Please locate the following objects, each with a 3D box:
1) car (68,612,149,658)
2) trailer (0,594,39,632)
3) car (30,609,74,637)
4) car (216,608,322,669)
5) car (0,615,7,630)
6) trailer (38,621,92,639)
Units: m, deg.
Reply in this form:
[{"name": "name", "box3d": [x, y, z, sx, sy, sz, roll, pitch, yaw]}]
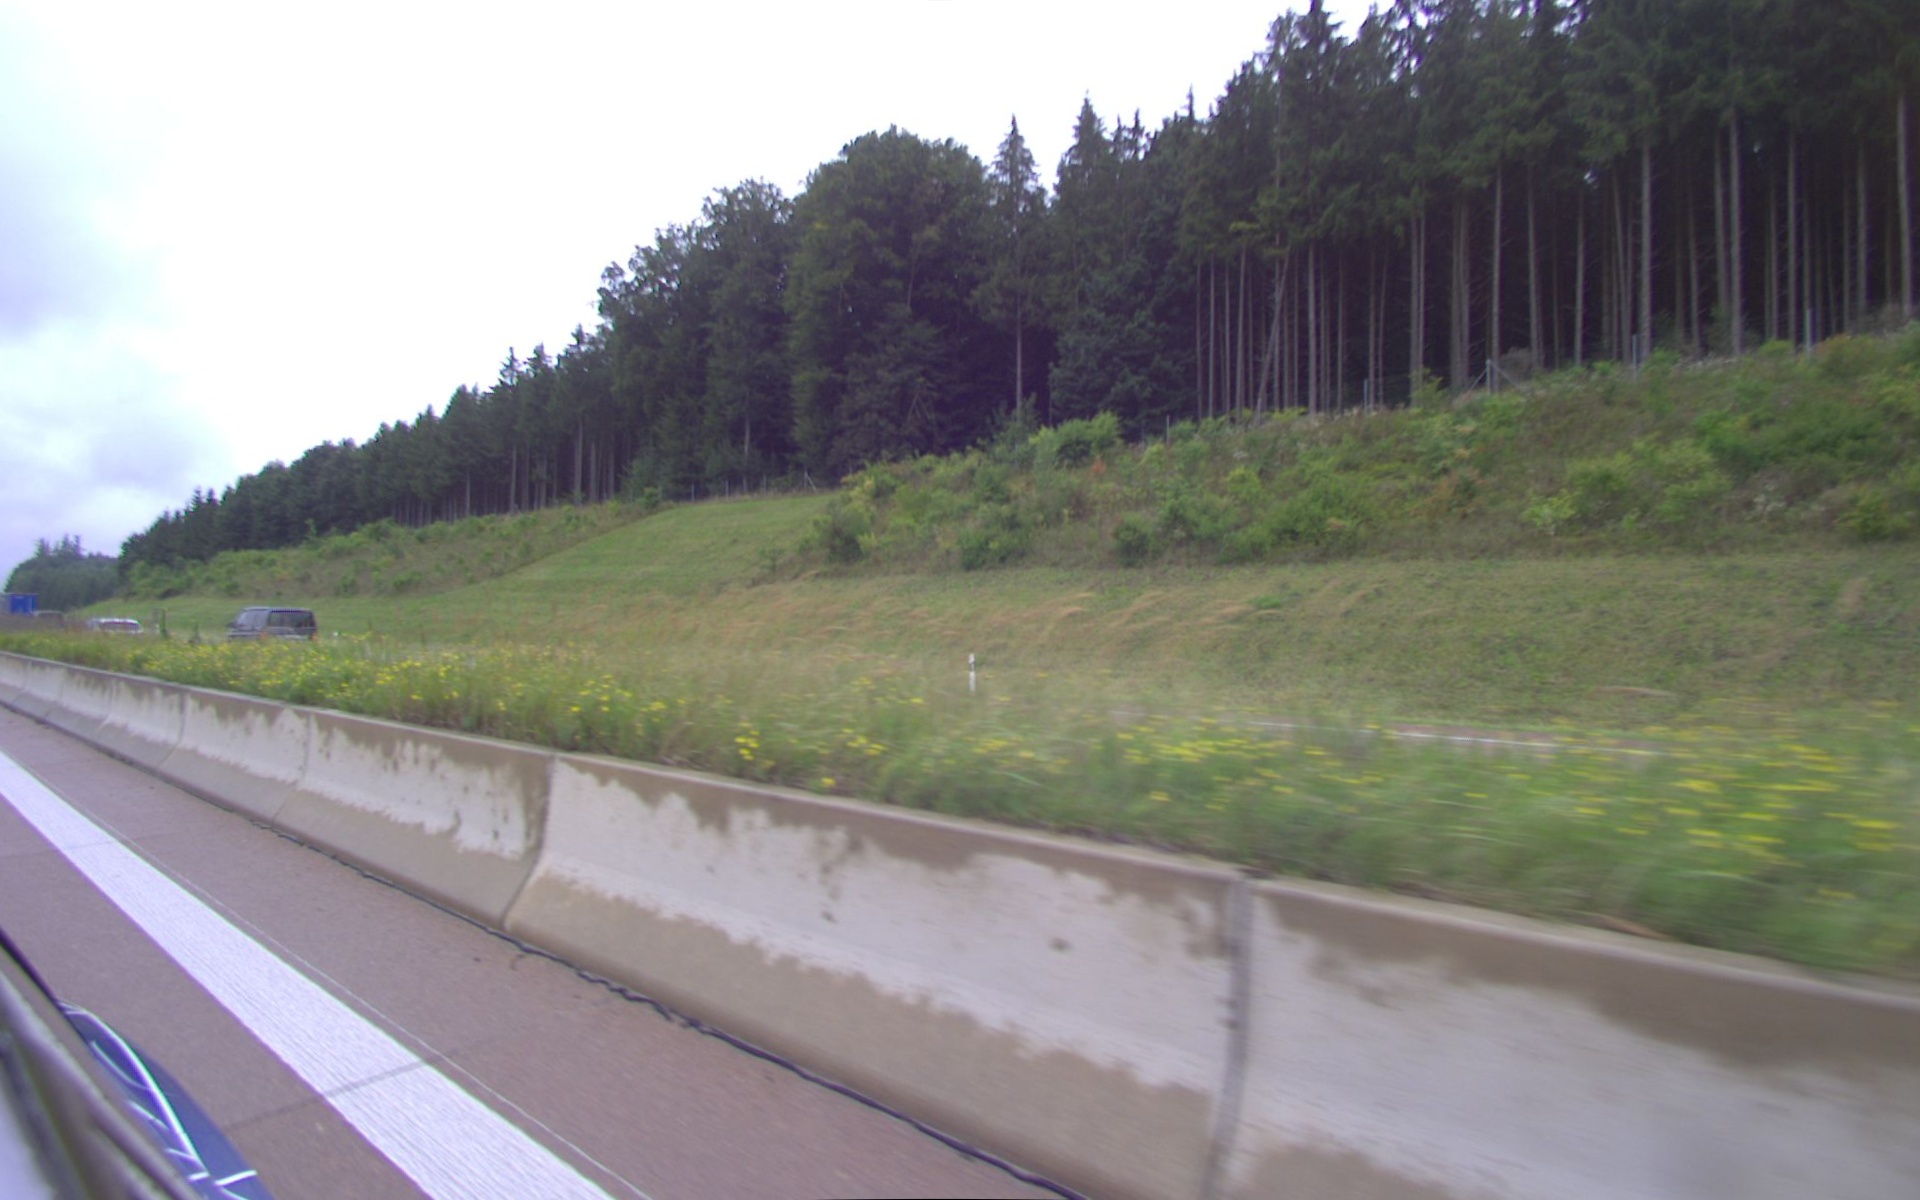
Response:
[{"name": "car", "box3d": [-32.703, 1.306, 38.851, 3.844, 1.615, 1.824, 0, 1, 41]}, {"name": "trailer", "box3d": [-118.194, 1.537, 126.652, 13.577, 4.372, 2.888, 0, 1, 42]}, {"name": "car", "box3d": [-72.226, 1.793, 80.480, 5.672, 2.029, 1.973, 0, 0, 41]}, {"name": "car", "box3d": [-25.830, 1.393, 37.778, 5.068, 2.073, 2.017, 0, -2, 41]}, {"name": "car", "box3d": [-101.256, 2.376, 106.045, 4.116, 1.540, 1.708, 0, 1, 42]}, {"name": "trailer", "box3d": [-67.646, 2.219, 76.449, 6.848, 1.005, 2.183, 0, 5, 41]}]
